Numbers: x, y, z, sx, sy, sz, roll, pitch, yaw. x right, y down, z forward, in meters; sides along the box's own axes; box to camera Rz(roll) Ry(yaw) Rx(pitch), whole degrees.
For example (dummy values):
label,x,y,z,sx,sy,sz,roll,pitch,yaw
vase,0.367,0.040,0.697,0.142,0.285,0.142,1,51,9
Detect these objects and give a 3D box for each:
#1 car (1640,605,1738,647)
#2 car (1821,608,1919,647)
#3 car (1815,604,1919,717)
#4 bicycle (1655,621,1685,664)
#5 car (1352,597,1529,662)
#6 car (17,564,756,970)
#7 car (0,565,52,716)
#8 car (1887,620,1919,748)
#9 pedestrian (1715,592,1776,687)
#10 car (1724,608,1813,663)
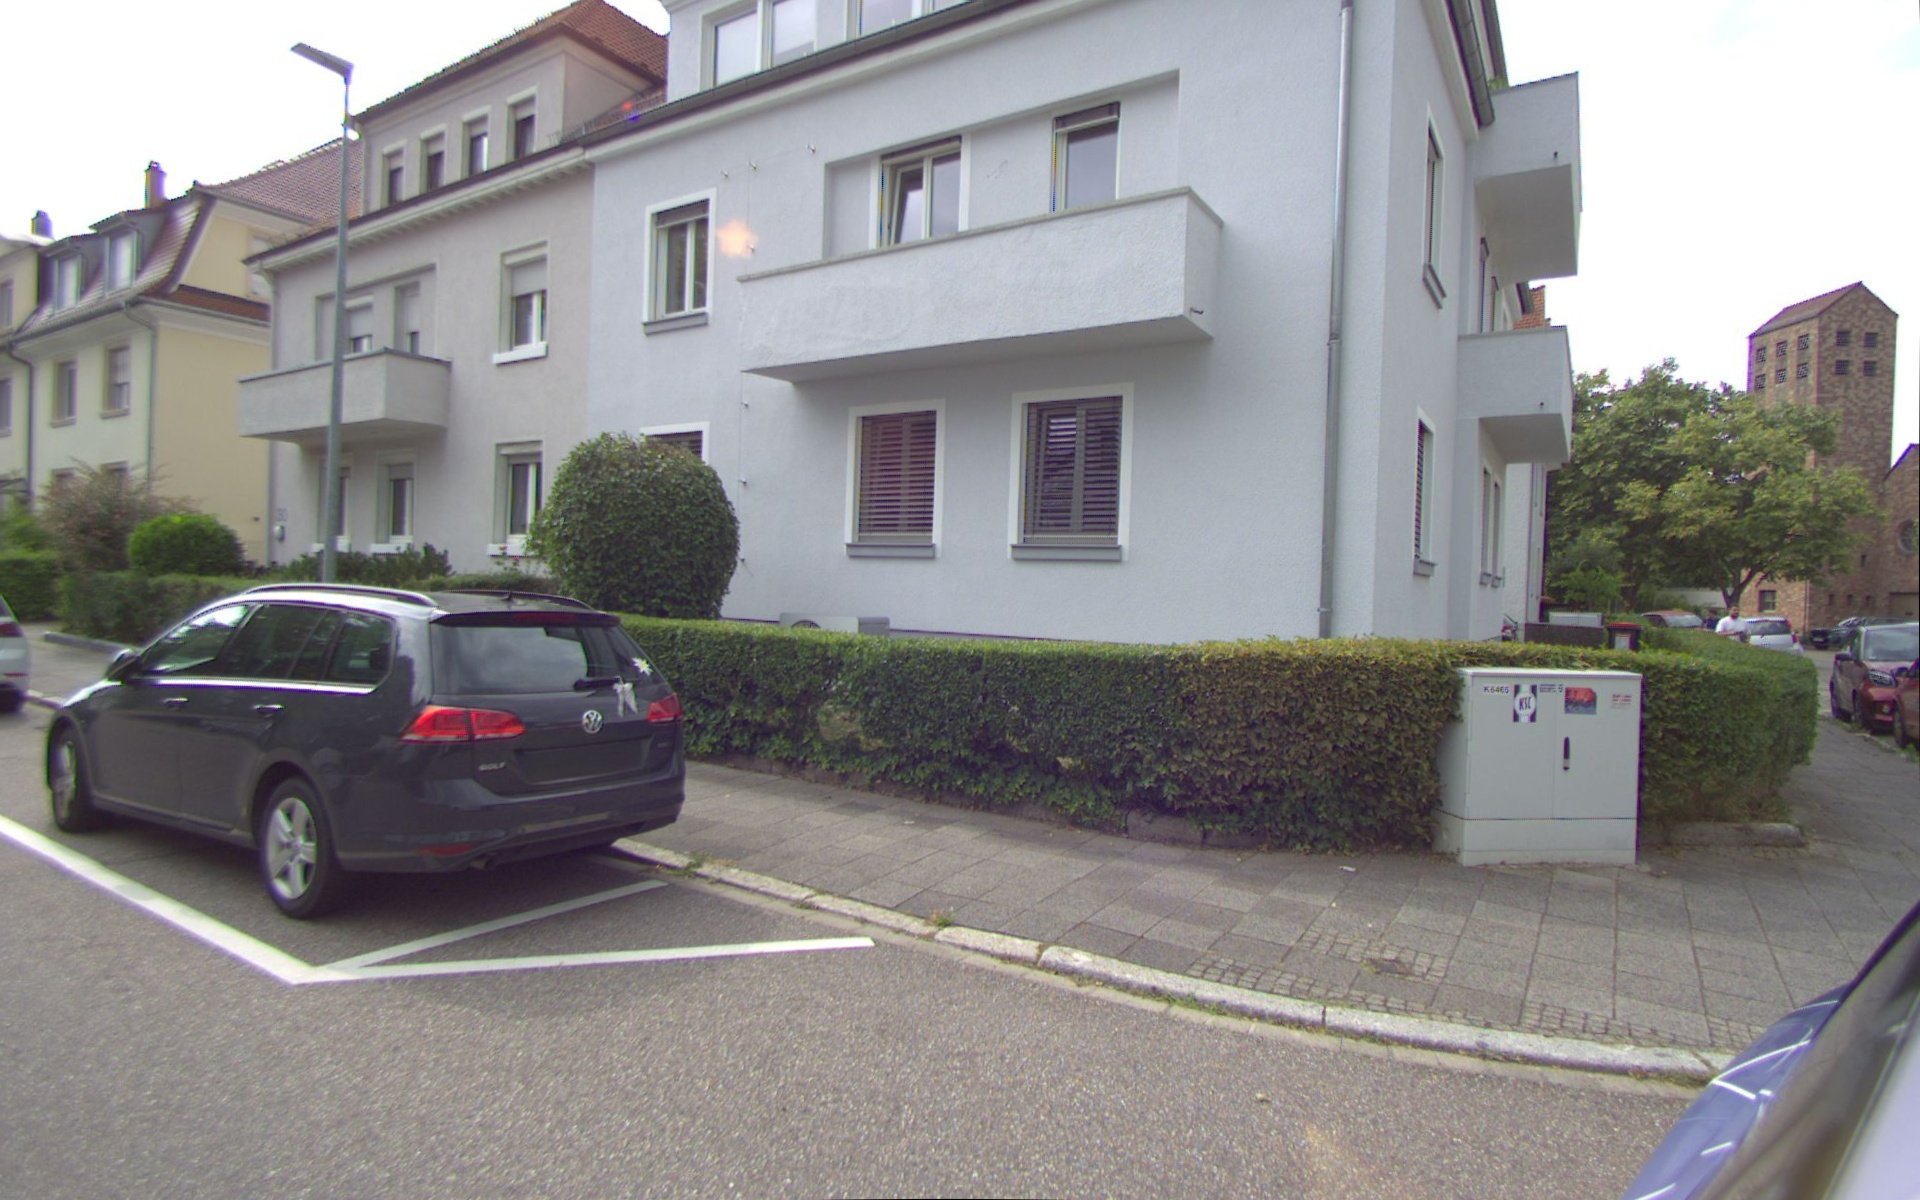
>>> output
label,x,y,z,sx,sy,sz,roll,pitch,yaw
car,28.006,0.974,39.006,1.624,1.515,3.471,-1,-1,10
car,40.814,1.202,44.552,4.198,1.482,1.665,3,3,33
car,14.164,0.824,15.083,1.638,1.515,3.441,-2,-1,32
bicycle,20.258,1.191,28.894,0.419,1.117,2.094,2,1,29
car,12.722,0.724,26.834,3.973,1.482,1.975,2,1,34
car,-3.362,0.605,5.762,4.141,1.490,1.840,2,1,30
car,-11.644,0.342,10.945,4.149,1.490,1.836,3,1,35
car,11.988,1.001,11.378,1.638,1.515,3.441,-2,-1,32
pedestrian,16.505,0.796,21.297,0.878,1.902,1.066,2,1,33
car,24.143,1.024,30.318,1.638,1.515,3.441,-2,-1,32
